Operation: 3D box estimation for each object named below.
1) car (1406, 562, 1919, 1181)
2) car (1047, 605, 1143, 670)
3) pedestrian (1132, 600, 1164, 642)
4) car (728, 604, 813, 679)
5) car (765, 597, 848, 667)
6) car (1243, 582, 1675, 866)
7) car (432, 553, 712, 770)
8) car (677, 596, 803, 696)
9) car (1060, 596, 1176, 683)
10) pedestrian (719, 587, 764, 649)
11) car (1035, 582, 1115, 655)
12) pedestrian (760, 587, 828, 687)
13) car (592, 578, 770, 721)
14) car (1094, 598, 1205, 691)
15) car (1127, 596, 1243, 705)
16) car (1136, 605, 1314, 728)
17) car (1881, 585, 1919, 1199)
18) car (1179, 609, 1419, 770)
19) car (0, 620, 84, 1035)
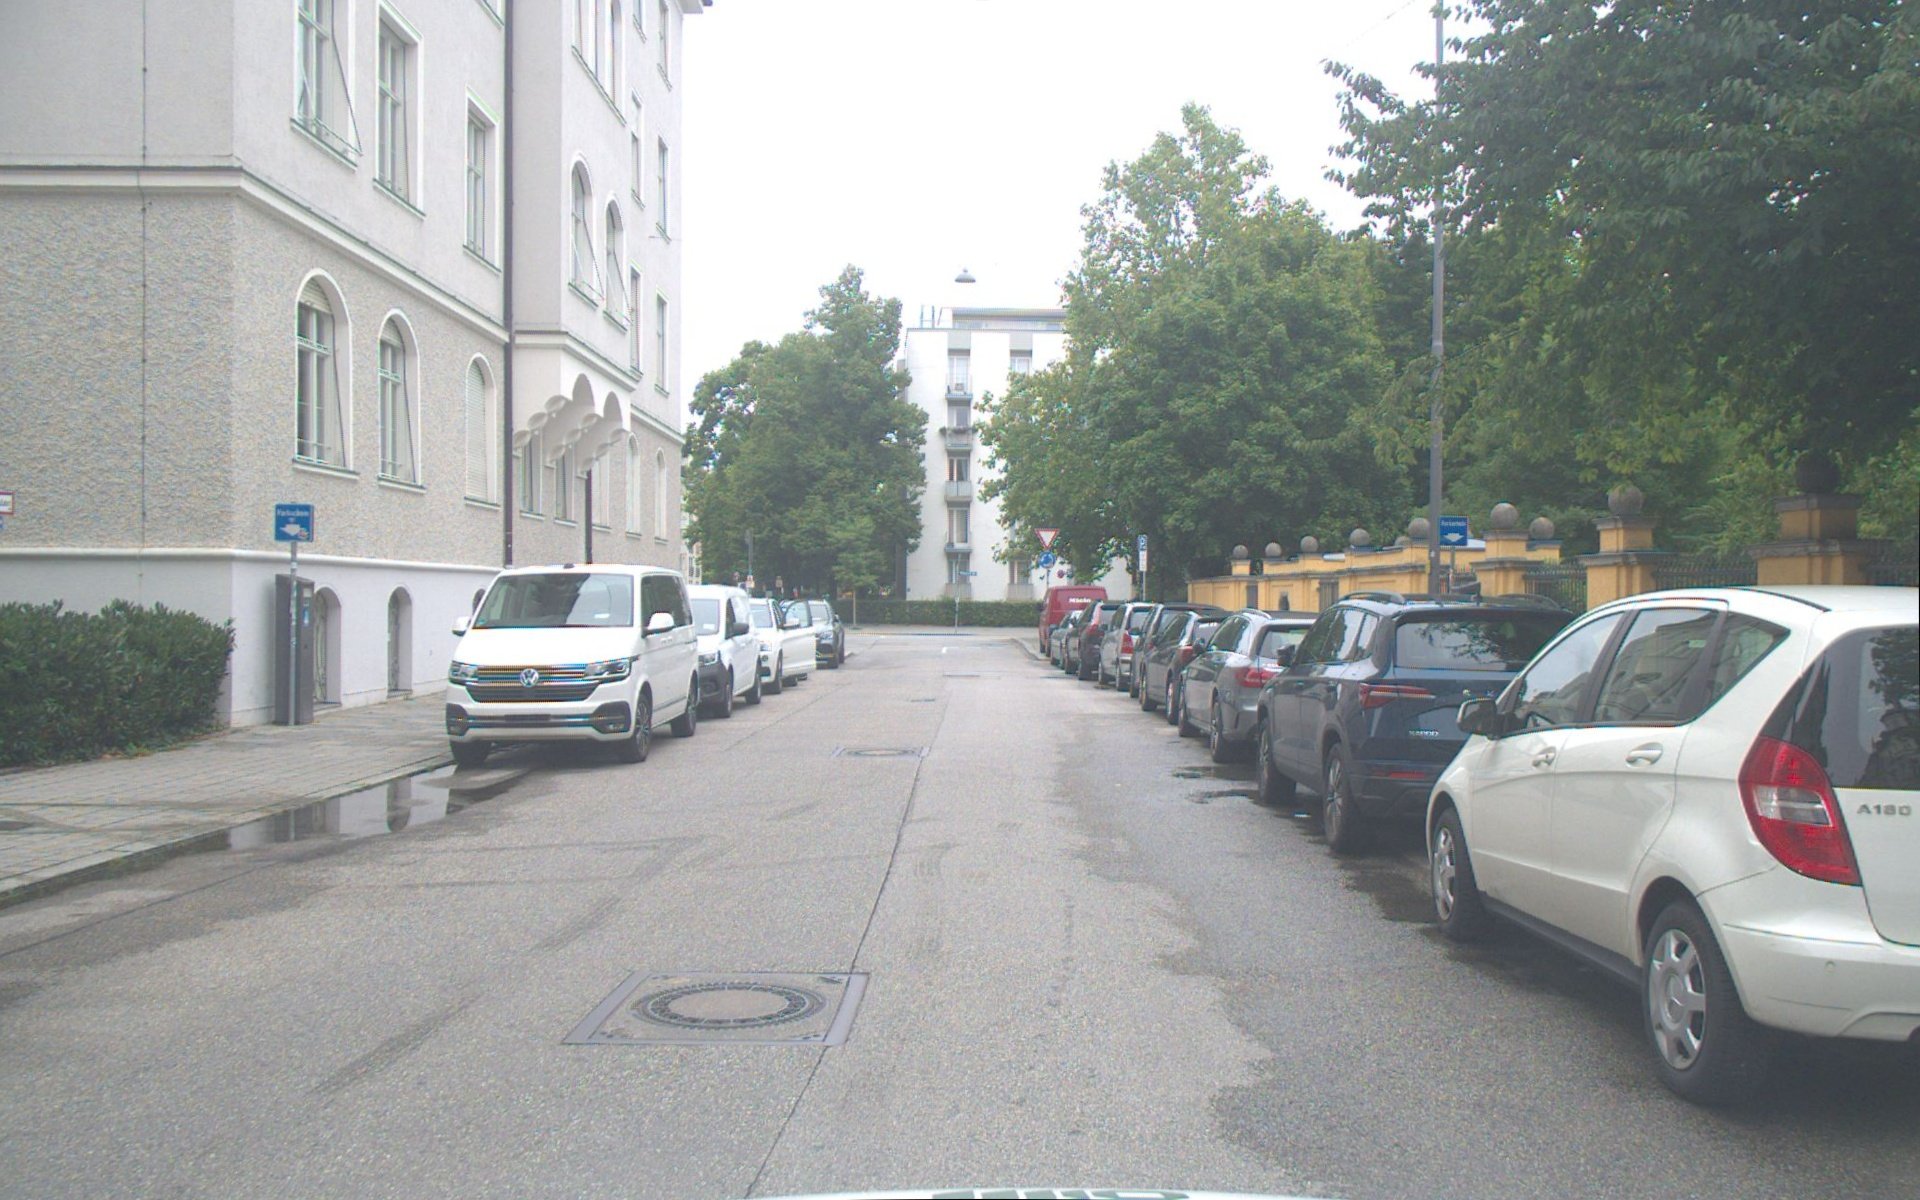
[{"bbox_3d":[3.137,0.702,6.433,1.677,1.598,4.320,0,0,0],"label":"car"},{"bbox_3d":[3.358,0.897,41.903,1.847,1.474,4.366,2,0,-3],"label":"car"},{"bbox_3d":[6.215,0.687,54.695,0.988,1.361,0.877,0,0,3],"label":"pedestrian"},{"bbox_3d":[-4.006,0.829,34.730,1.660,1.439,3.657,-1,0,-7],"label":"car"},{"bbox_3d":[-3.794,0.767,41.540,1.711,1.630,4.495,-1,0,-1],"label":"car"},{"bbox_3d":[3.219,0.701,11.686,1.677,1.598,4.691,0,0,0],"label":"car"},{"bbox_3d":[-3.945,0.567,17.710,1.818,1.972,4.957,-1,0,0],"label":"car"},{"bbox_3d":[-3.860,0.769,29.683,1.711,1.630,4.495,-1,0,-1],"label":"car"},{"bbox_3d":[3.340,0.793,35.806,1.846,1.682,4.822,2,0,-2],"label":"car"},{"bbox_3d":[-6.479,0.530,49.010,1.039,1.802,0.867,0,0,-33],"label":"pedestrian"},{"bbox_3d":[3.252,0.504,47.637,1.836,1.954,4.886,2,0,-1],"label":"car"},{"bbox_3d":[-3.021,0.662,30.009,0.951,1.786,0.868,1,0,-30],"label":"pedestrian"},{"bbox_3d":[-3.918,0.645,24.025,1.711,1.819,5.036,-1,0,0],"label":"car"},{"bbox_3d":[3.476,0.783,30.924,1.455,1.566,3.690,2,0,-3],"label":"car"},{"bbox_3d":[3.553,0.764,26.494,1.477,1.593,2.870,2,0,1],"label":"car"},{"bbox_3d":[3.485,0.827,22.381,1.657,1.439,4.035,2,0,-1],"label":"car"},{"bbox_3d":[3.026,0.703,1.861,1.677,1.479,4.184,0,0,0],"label":"car"},{"bbox_3d":[3.362,0.821,17.225,1.657,1.439,4.516,0,0,1],"label":"car"},{"bbox_3d":[-4.269,0.808,4.100,1.818,1.437,4.379,-1,0,0],"label":"car"}]
